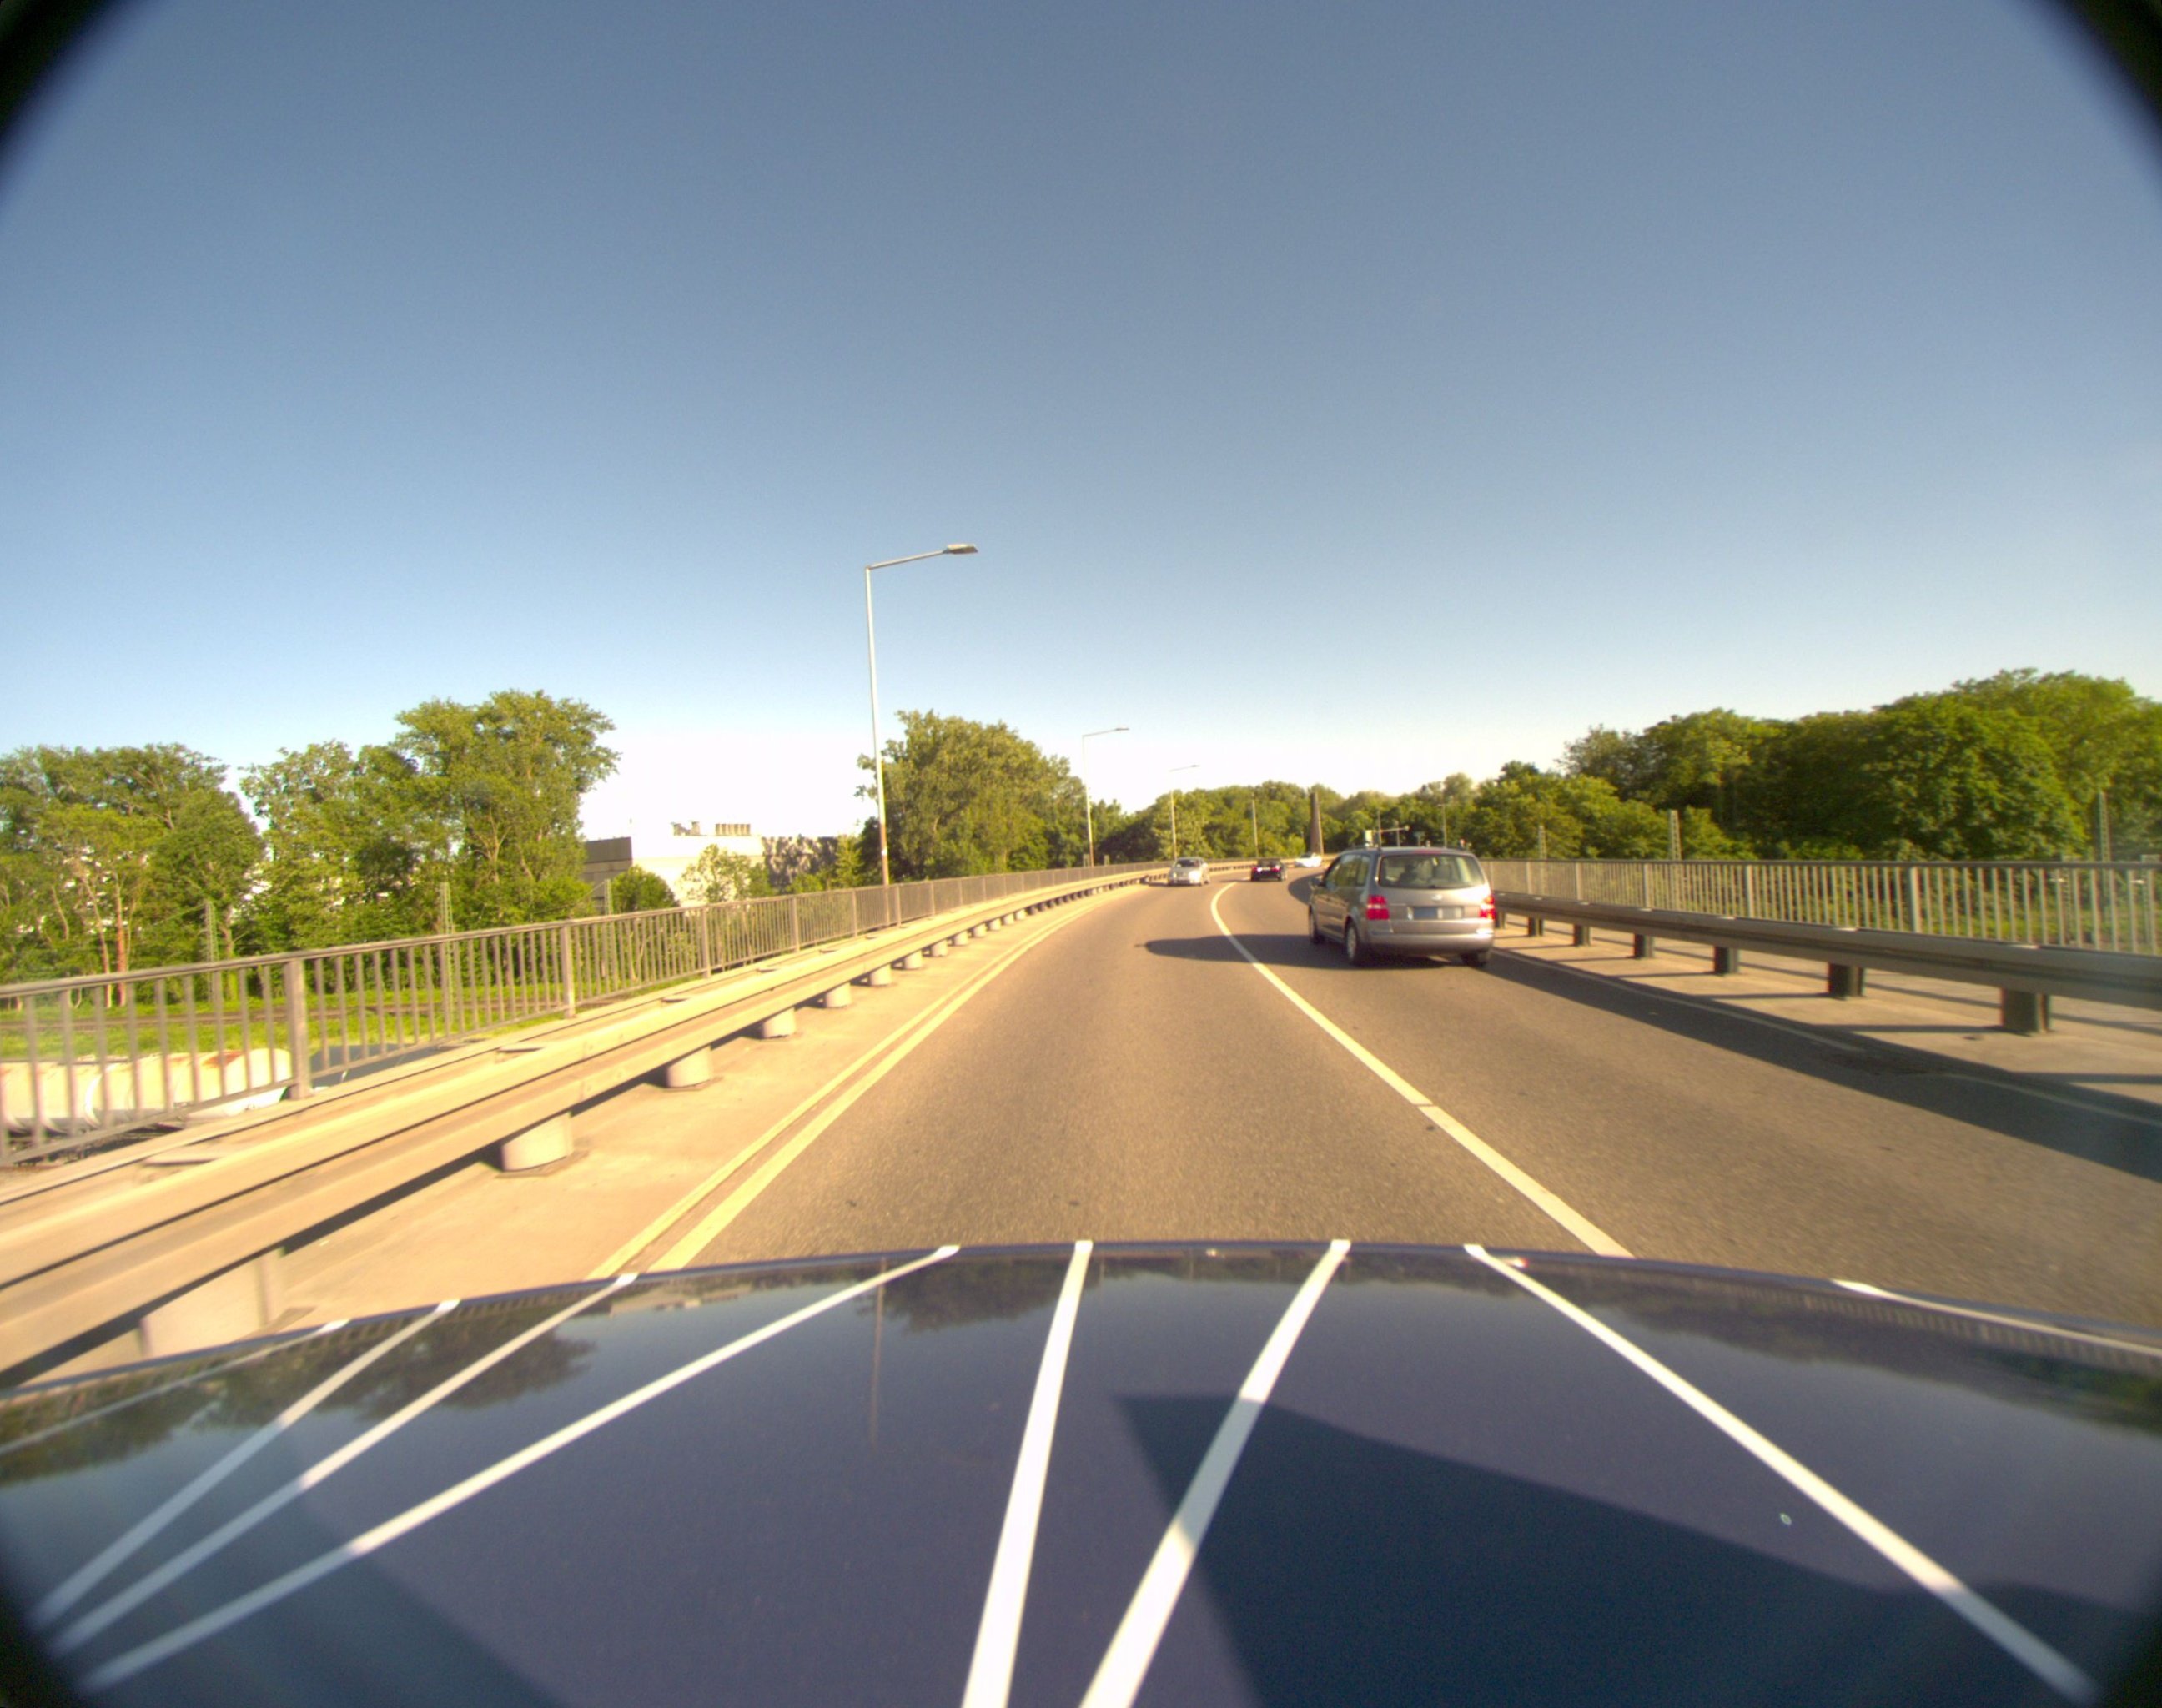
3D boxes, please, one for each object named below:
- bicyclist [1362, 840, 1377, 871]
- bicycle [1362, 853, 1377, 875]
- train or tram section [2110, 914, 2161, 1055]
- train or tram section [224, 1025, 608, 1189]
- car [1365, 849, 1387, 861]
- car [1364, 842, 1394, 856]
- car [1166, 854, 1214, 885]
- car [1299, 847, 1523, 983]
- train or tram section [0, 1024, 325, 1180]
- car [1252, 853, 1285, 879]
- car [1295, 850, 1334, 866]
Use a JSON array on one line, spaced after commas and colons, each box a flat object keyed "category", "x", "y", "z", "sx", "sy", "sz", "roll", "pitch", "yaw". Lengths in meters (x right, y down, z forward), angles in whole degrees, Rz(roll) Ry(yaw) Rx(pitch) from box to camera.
[{"category": "bicyclist", "x": 15.090, "y": 0.084, "z": 39.748, "sx": 0.654, "sy": 1.580, "sz": 0.769, "roll": -1, "pitch": 1, "yaw": 23}, {"category": "bicycle", "x": 15.073, "y": 0.517, "z": 39.687, "sx": 0.654, "sy": 1.058, "sz": 1.893, "roll": -1, "pitch": 0, "yaw": 23}, {"category": "train or tram section", "x": 44.003, "y": 4.197, "z": 23.640, "sx": 16.748, "sy": 4.564, "sz": 3.907, "roll": -1, "pitch": 1, "yaw": 6}, {"category": "train or tram section", "x": -26.057, "y": 9.749, "z": 30.035, "sx": 13.068, "sy": 5.234, "sz": 3.338, "roll": -1, "pitch": 1, "yaw": 6}, {"category": "car", "x": 39.923, "y": 0.136, "z": 102.865, "sx": 1.918, "sy": 1.608, "sz": 3.750, "roll": -1, "pitch": 0, "yaw": 34}, {"category": "car", "x": 59.186, "y": -0.942, "z": 151.216, "sx": 2.117, "sy": 2.484, "sz": 5.697, "roll": -2, "pitch": -2, "yaw": -22}, {"category": "car", "x": 5.674, "y": 0.778, "z": 39.309, "sx": 1.762, "sy": 1.428, "sz": 4.335, "roll": -1, "pitch": 0, "yaw": 17}, {"category": "car", "x": 4.549, "y": 0.736, "z": 11.198, "sx": 1.852, "sy": 1.614, "sz": 4.104, "roll": -1, "pitch": 0, "yaw": 6}, {"category": "train or tram section", "x": -40.958, "y": 10.103, "z": 31.716, "sx": 16.860, "sy": 5.231, "sz": 3.338, "roll": -1, "pitch": 1, "yaw": 6}, {"category": "car", "x": 10.717, "y": 0.664, "z": 43.527, "sx": 1.747, "sy": 1.347, "sz": 4.186, "roll": -1, "pitch": 0, "yaw": 14}, {"category": "car", "x": 24.012, "y": 0.416, "z": 78.079, "sx": 4.138, "sy": 1.465, "sz": 1.989, "roll": -2, "pitch": 0, "yaw": -43}]
